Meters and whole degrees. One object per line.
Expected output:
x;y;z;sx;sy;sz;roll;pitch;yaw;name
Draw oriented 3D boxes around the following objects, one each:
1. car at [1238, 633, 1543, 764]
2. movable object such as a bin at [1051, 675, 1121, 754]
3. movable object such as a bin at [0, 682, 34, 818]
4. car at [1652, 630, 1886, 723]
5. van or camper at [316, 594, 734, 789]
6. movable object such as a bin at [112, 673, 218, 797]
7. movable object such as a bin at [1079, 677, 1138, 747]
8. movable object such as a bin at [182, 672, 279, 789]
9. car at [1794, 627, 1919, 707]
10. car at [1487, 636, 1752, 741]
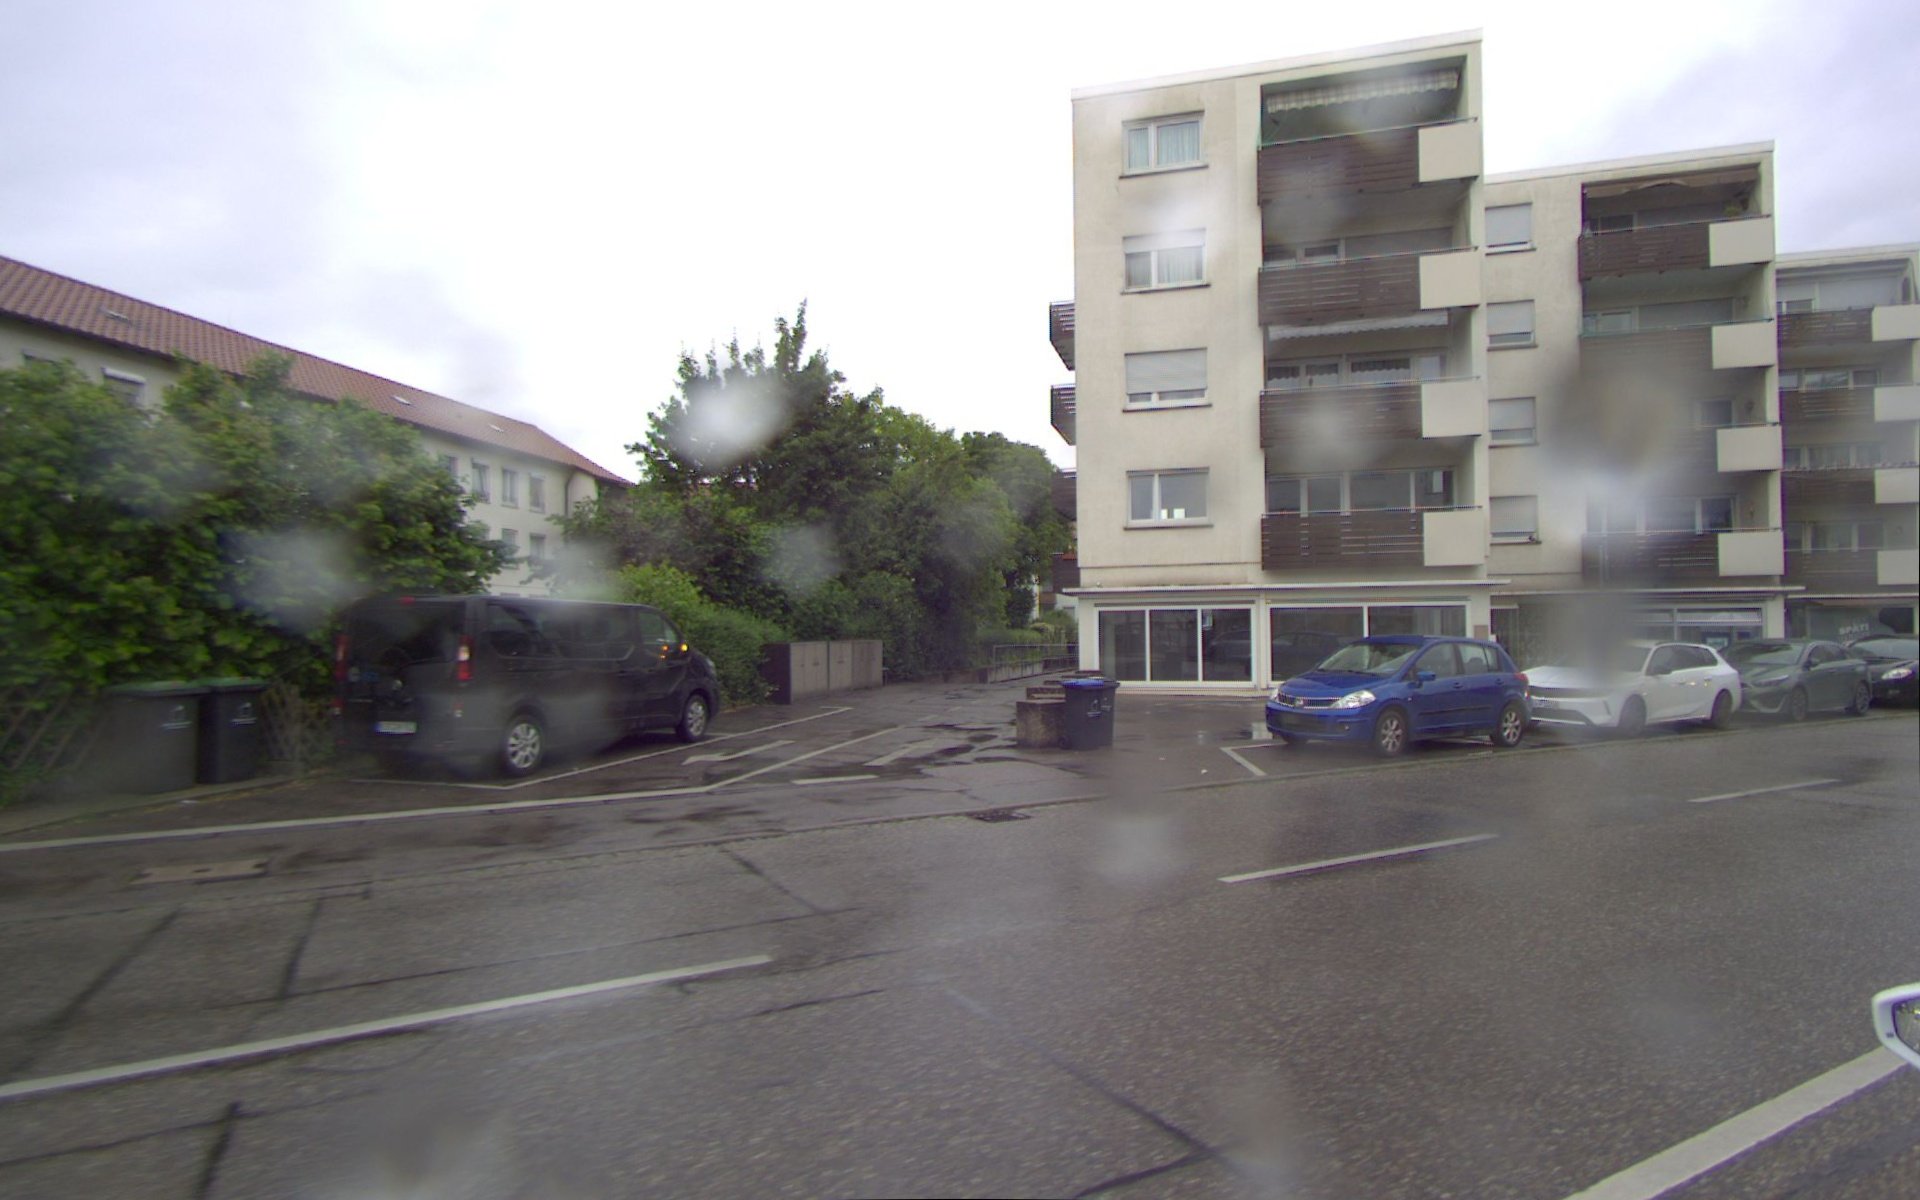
6.008;1.250;13.907;4.272;1.541;1.644;1;-1;-30;car
1.667;1.504;13.344;0.674;0.978;0.645;1;-2;-29;movable object such as a bin
-8.432;1.292;8.683;0.597;1.133;0.594;1;-2;-42;movable object such as a bin
15.457;1.372;19.153;4.465;1.562;1.927;1;-2;-29;car
-5.102;0.970;12.833;1.960;1.950;5.219;-2;-1;17;van or camper
-7.760;1.291;9.811;0.590;1.133;0.601;-1;-2;25;movable object such as a bin
2.066;1.551;14.017;0.590;0.914;0.571;1;-2;-29;movable object such as a bin
-7.567;1.333;10.430;0.590;1.133;0.601;-1;-2;25;movable object such as a bin
20.177;1.370;21.696;4.220;1.562;1.927;1;-2;-29;car
10.910;1.365;16.536;4.626;1.483;1.686;1;-1;-29;car
